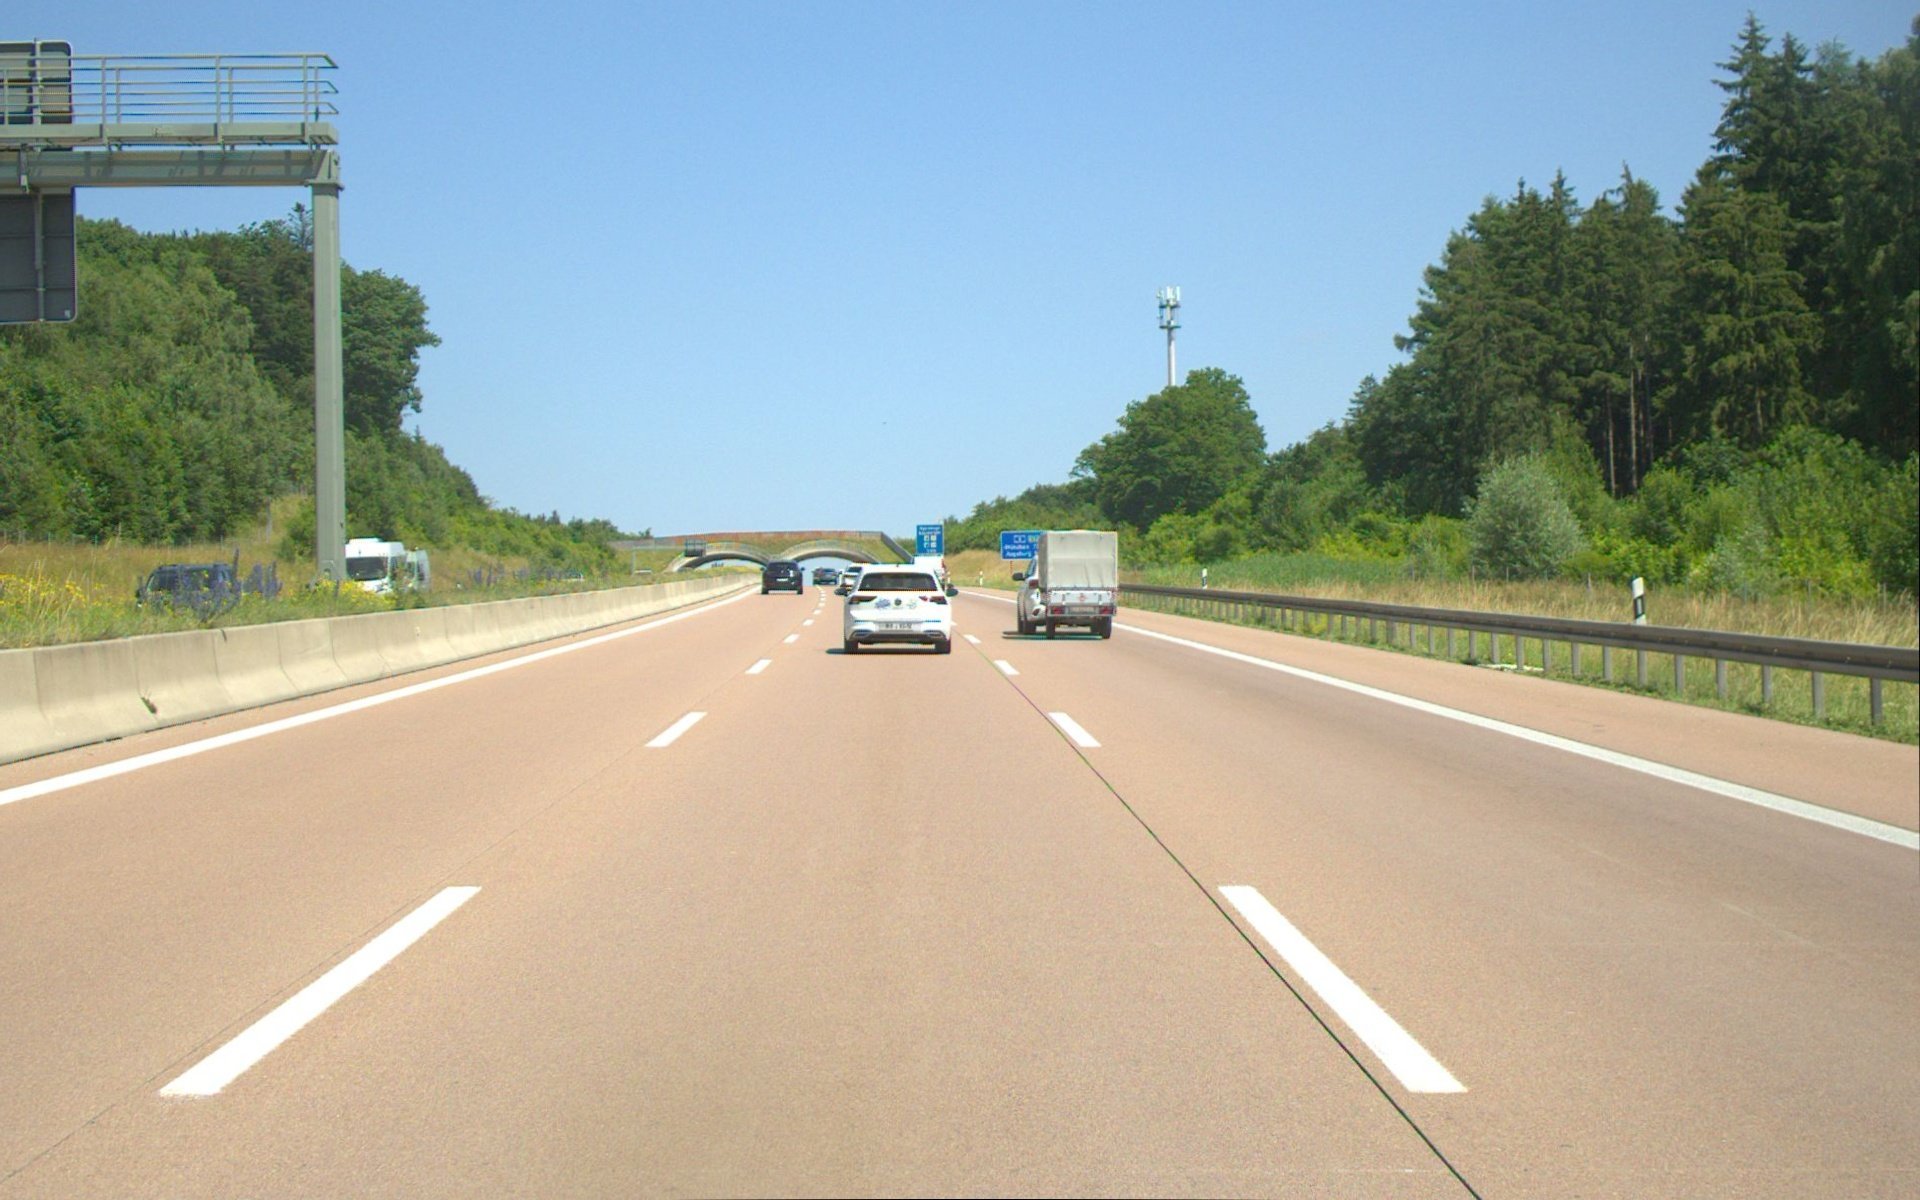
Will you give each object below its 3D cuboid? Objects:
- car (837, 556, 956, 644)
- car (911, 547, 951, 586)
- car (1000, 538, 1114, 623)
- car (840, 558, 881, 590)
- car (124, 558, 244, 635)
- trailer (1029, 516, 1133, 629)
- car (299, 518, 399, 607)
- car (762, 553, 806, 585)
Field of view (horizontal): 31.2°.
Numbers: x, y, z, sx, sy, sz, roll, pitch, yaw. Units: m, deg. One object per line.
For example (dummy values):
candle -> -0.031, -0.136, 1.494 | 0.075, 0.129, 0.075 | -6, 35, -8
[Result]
car -> -1.014, -0.028, 56.506 | 1.891, 1.393, 4.000 | 0, 1, 0
car -> -1.558, -1.797, 182.830 | 2.110, 2.047, 4.000 | 0, 1, 0
car -> 1.991, -0.412, 71.856 | 1.890, 1.722, 5.187 | 0, 0, -4
car -> -4.657, -1.219, 161.149 | 1.890, 1.458, 4.000 | 0, 1, -2
car -> -17.197, -0.091, 76.344 | 1.890, 1.649, 4.000 | 0, 1, -2
trailer -> 2.338, -0.534, 67.335 | 1.657, 2.156, 4.016 | 0, 0, -4
car -> -18.910, -1.162, 106.630 | 2.232, 2.677, 6.098 | 0, 1, -2
car -> -8.225, -1.466, 161.209 | 1.891, 1.458, 4.000 | 0, 1, 0
